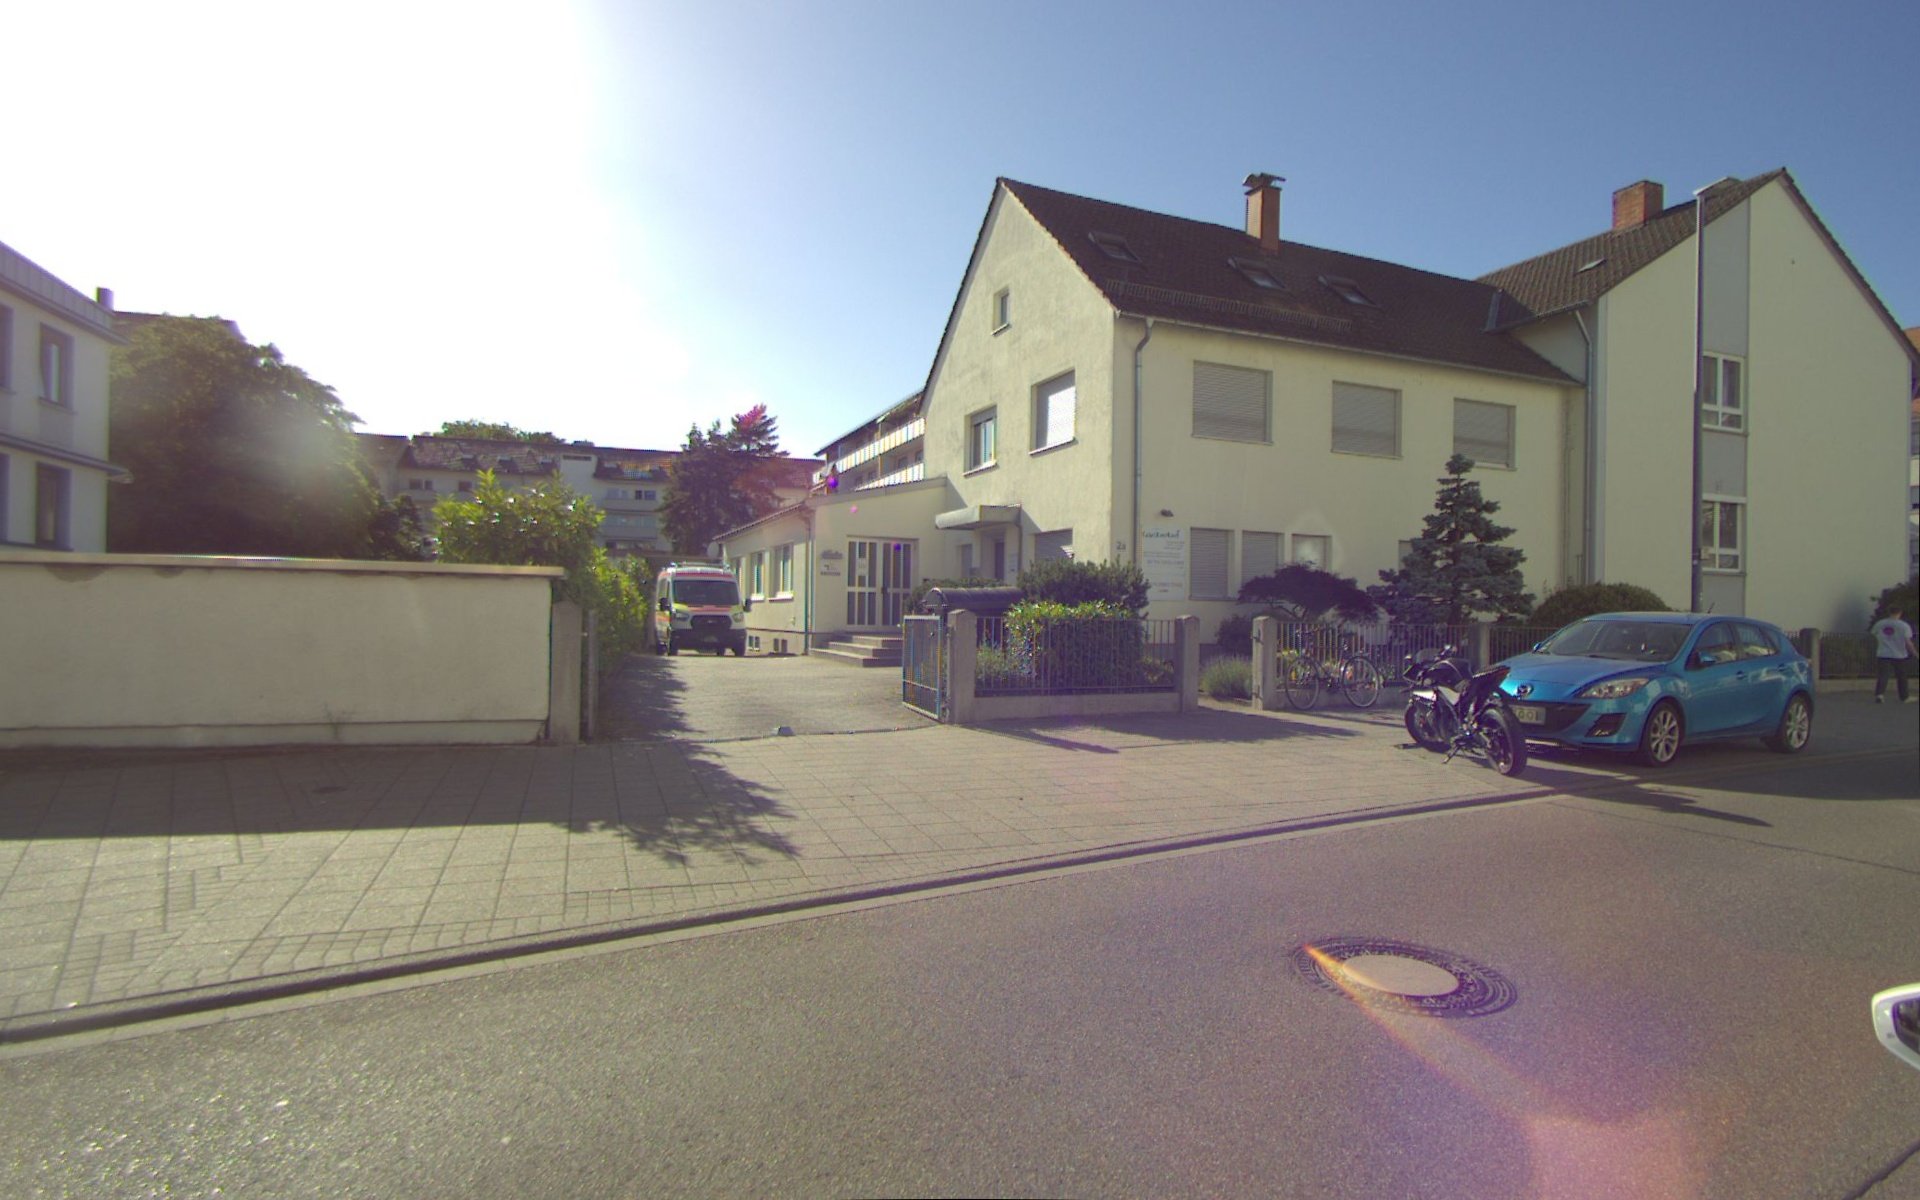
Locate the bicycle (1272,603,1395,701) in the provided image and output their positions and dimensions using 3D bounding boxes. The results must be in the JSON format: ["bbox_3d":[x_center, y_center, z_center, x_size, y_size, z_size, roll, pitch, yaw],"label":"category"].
[{"bbox_3d":[5.153,0.731,13.800,1.906,1.266,0.454,4,-2,-31],"label":"bicycle"}]

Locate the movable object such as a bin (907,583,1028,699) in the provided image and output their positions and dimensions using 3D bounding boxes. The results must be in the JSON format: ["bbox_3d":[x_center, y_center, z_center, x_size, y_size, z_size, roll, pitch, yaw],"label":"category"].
[{"bbox_3d":[0.084,0.571,14.050,1.211,1.509,1.278,4,-2,-25],"label":"movable object such as a bin"}]

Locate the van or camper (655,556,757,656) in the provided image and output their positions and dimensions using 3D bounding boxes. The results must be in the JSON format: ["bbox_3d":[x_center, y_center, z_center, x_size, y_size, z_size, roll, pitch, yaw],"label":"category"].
[{"bbox_3d":[-7.066,0.253,27.542,2.118,2.429,5.212,2,-2,-20],"label":"van or camper"}]

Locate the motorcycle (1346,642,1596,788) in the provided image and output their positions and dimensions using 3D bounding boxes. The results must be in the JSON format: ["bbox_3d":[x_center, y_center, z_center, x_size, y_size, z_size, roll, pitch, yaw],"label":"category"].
[{"bbox_3d":[4.698,1.002,9.456,0.931,1.033,2.056,0,3,-16],"label":"motorcycle"}]

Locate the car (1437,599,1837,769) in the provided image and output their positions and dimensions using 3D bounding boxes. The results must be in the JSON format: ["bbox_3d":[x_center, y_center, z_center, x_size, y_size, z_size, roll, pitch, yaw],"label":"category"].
[{"bbox_3d":[7.341,0.783,10.821,4.277,1.493,1.790,1,1,-28],"label":"car"}]

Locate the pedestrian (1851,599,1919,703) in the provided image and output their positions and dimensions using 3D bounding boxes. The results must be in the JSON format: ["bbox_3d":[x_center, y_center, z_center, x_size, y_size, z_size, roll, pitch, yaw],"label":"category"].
[{"bbox_3d":[15.964,0.868,17.251,0.812,1.725,0.681,3,-2,-21],"label":"pedestrian"}]
